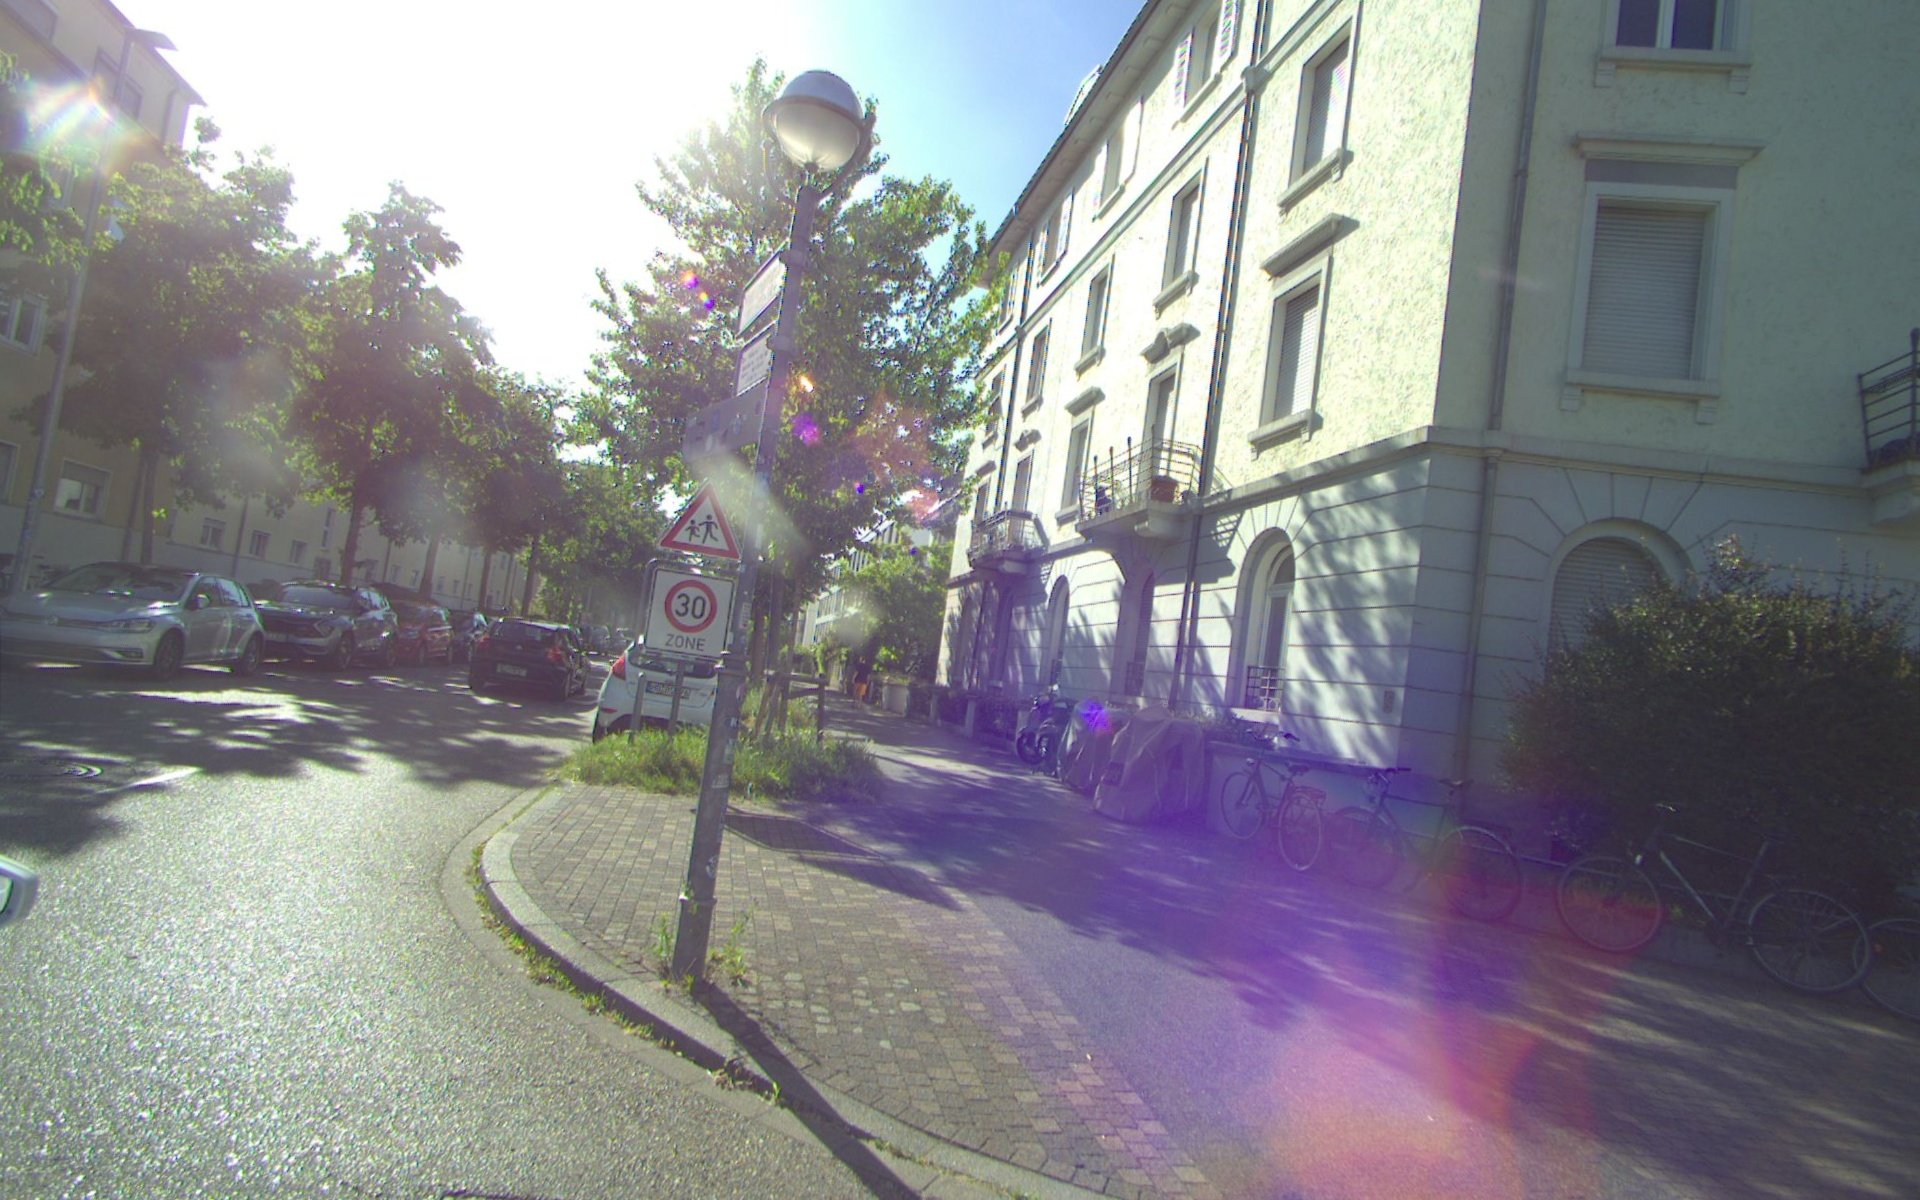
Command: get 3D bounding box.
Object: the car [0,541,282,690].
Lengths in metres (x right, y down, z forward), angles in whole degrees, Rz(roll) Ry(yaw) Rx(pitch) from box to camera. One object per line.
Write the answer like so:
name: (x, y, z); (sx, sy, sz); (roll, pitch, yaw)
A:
car: (-10.731, 0.240, 13.183); (1.740, 1.457, 3.986); (9, -4, -16)

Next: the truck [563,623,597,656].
truck: (-20.286, 2.138, 53.791); (1.070, 1.594, 2.430); (8, -4, -10)

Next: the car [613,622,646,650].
car: (-26.323, 2.929, 80.274); (1.803, 1.924, 5.138); (7, -4, -12)

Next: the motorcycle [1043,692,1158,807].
motorcycle: (1.845, 1.963, 13.502); (0.649, 1.293, 1.795); (7, -4, -19)

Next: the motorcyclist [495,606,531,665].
motorcyclist: (-11.373, 0.899, 25.618); (0.546, 1.417, 0.519); (9, -3, -13)

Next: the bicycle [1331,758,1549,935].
bicycle: (3.872, 1.958, 8.224); (0.348, 1.115, 1.559); (10, -5, -34)

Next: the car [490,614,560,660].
car: (-17.087, 1.485, 39.694); (1.599, 1.532, 4.265); (7, -4, -12)

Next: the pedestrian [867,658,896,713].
pedestrian: (-2.712, 2.924, 34.596); (0.615, 1.793, 0.798); (9, -4, -13)

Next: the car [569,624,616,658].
car: (-21.218, 2.371, 58.320); (1.825, 1.699, 4.971); (6, -4, -13)

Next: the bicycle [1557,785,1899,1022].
bicycle: (5.202, 2.013, 6.946); (1.751, 1.161, 0.444); (5, -4, 34)

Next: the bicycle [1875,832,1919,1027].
bicycle: (6.749, 2.169, 6.141); (1.609, 1.161, 0.366); (6, -3, 26)

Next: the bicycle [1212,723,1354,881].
bicycle: (3.040, 1.874, 9.602); (0.322, 1.251, 1.499); (8, -5, -20)

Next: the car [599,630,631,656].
car: (-23.936, 3.025, 69.936); (1.488, 1.565, 4.773); (7, -4, -13)

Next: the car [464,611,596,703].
car: (-8.183, 1.093, 19.433); (1.629, 1.411, 3.407); (8, -4, -13)

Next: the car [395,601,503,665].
car: (-14.424, 0.967, 28.618); (1.644, 1.474, 3.928); (9, -4, -12)

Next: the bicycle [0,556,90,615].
bicycle: (-19.192, -0.280, 21.082); (0.529, 1.037, 1.747); (8, -4, -11)

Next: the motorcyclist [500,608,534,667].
motorcyclist: (-11.486, 0.968, 26.075); (0.537, 1.441, 0.403); (9, -3, -13)

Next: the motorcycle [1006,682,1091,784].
motorcycle: (1.353, 2.035, 15.808); (0.532, 1.375, 2.087); (9, -4, -13)

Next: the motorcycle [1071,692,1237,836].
motorcycle: (2.191, 1.845, 11.666); (0.960, 1.342, 1.848); (9, -4, -18)

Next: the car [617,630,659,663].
car: (-16.506, 2.386, 51.670); (1.629, 1.440, 3.996); (9, -4, -14)

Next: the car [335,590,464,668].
car: (-13.192, 0.725, 23.886); (1.644, 1.501, 3.253); (9, -4, -12)

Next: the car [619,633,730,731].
car: (-5.356, 1.454, 18.812); (1.593, 1.424, 4.342); (9, -5, -16)

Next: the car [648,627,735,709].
car: (-6.810, 1.705, 25.752); (1.759, 1.716, 4.292); (8, -4, -13)

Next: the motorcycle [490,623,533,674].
motorcycle: (-11.442, 1.232, 25.710); (0.546, 1.187, 1.631); (9, -4, -13)

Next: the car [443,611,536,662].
car: (-15.755, 1.252, 33.919); (1.723, 1.383, 4.670); (8, -4, -12)

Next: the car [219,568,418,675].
car: (-12.135, 0.468, 19.437); (1.671, 1.581, 4.728); (9, -4, -14)

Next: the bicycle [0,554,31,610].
bicycle: (-18.745, -0.403, 19.207); (0.533, 1.037, 1.747); (8, -4, -11)

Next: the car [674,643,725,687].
car: (-10.094, 2.499, 39.181); (1.609, 1.440, 4.364); (8, -4, -12)

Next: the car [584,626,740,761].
car: (-4.070, 1.232, 14.156); (1.632, 1.416, 4.130); (9, -4, -13)
